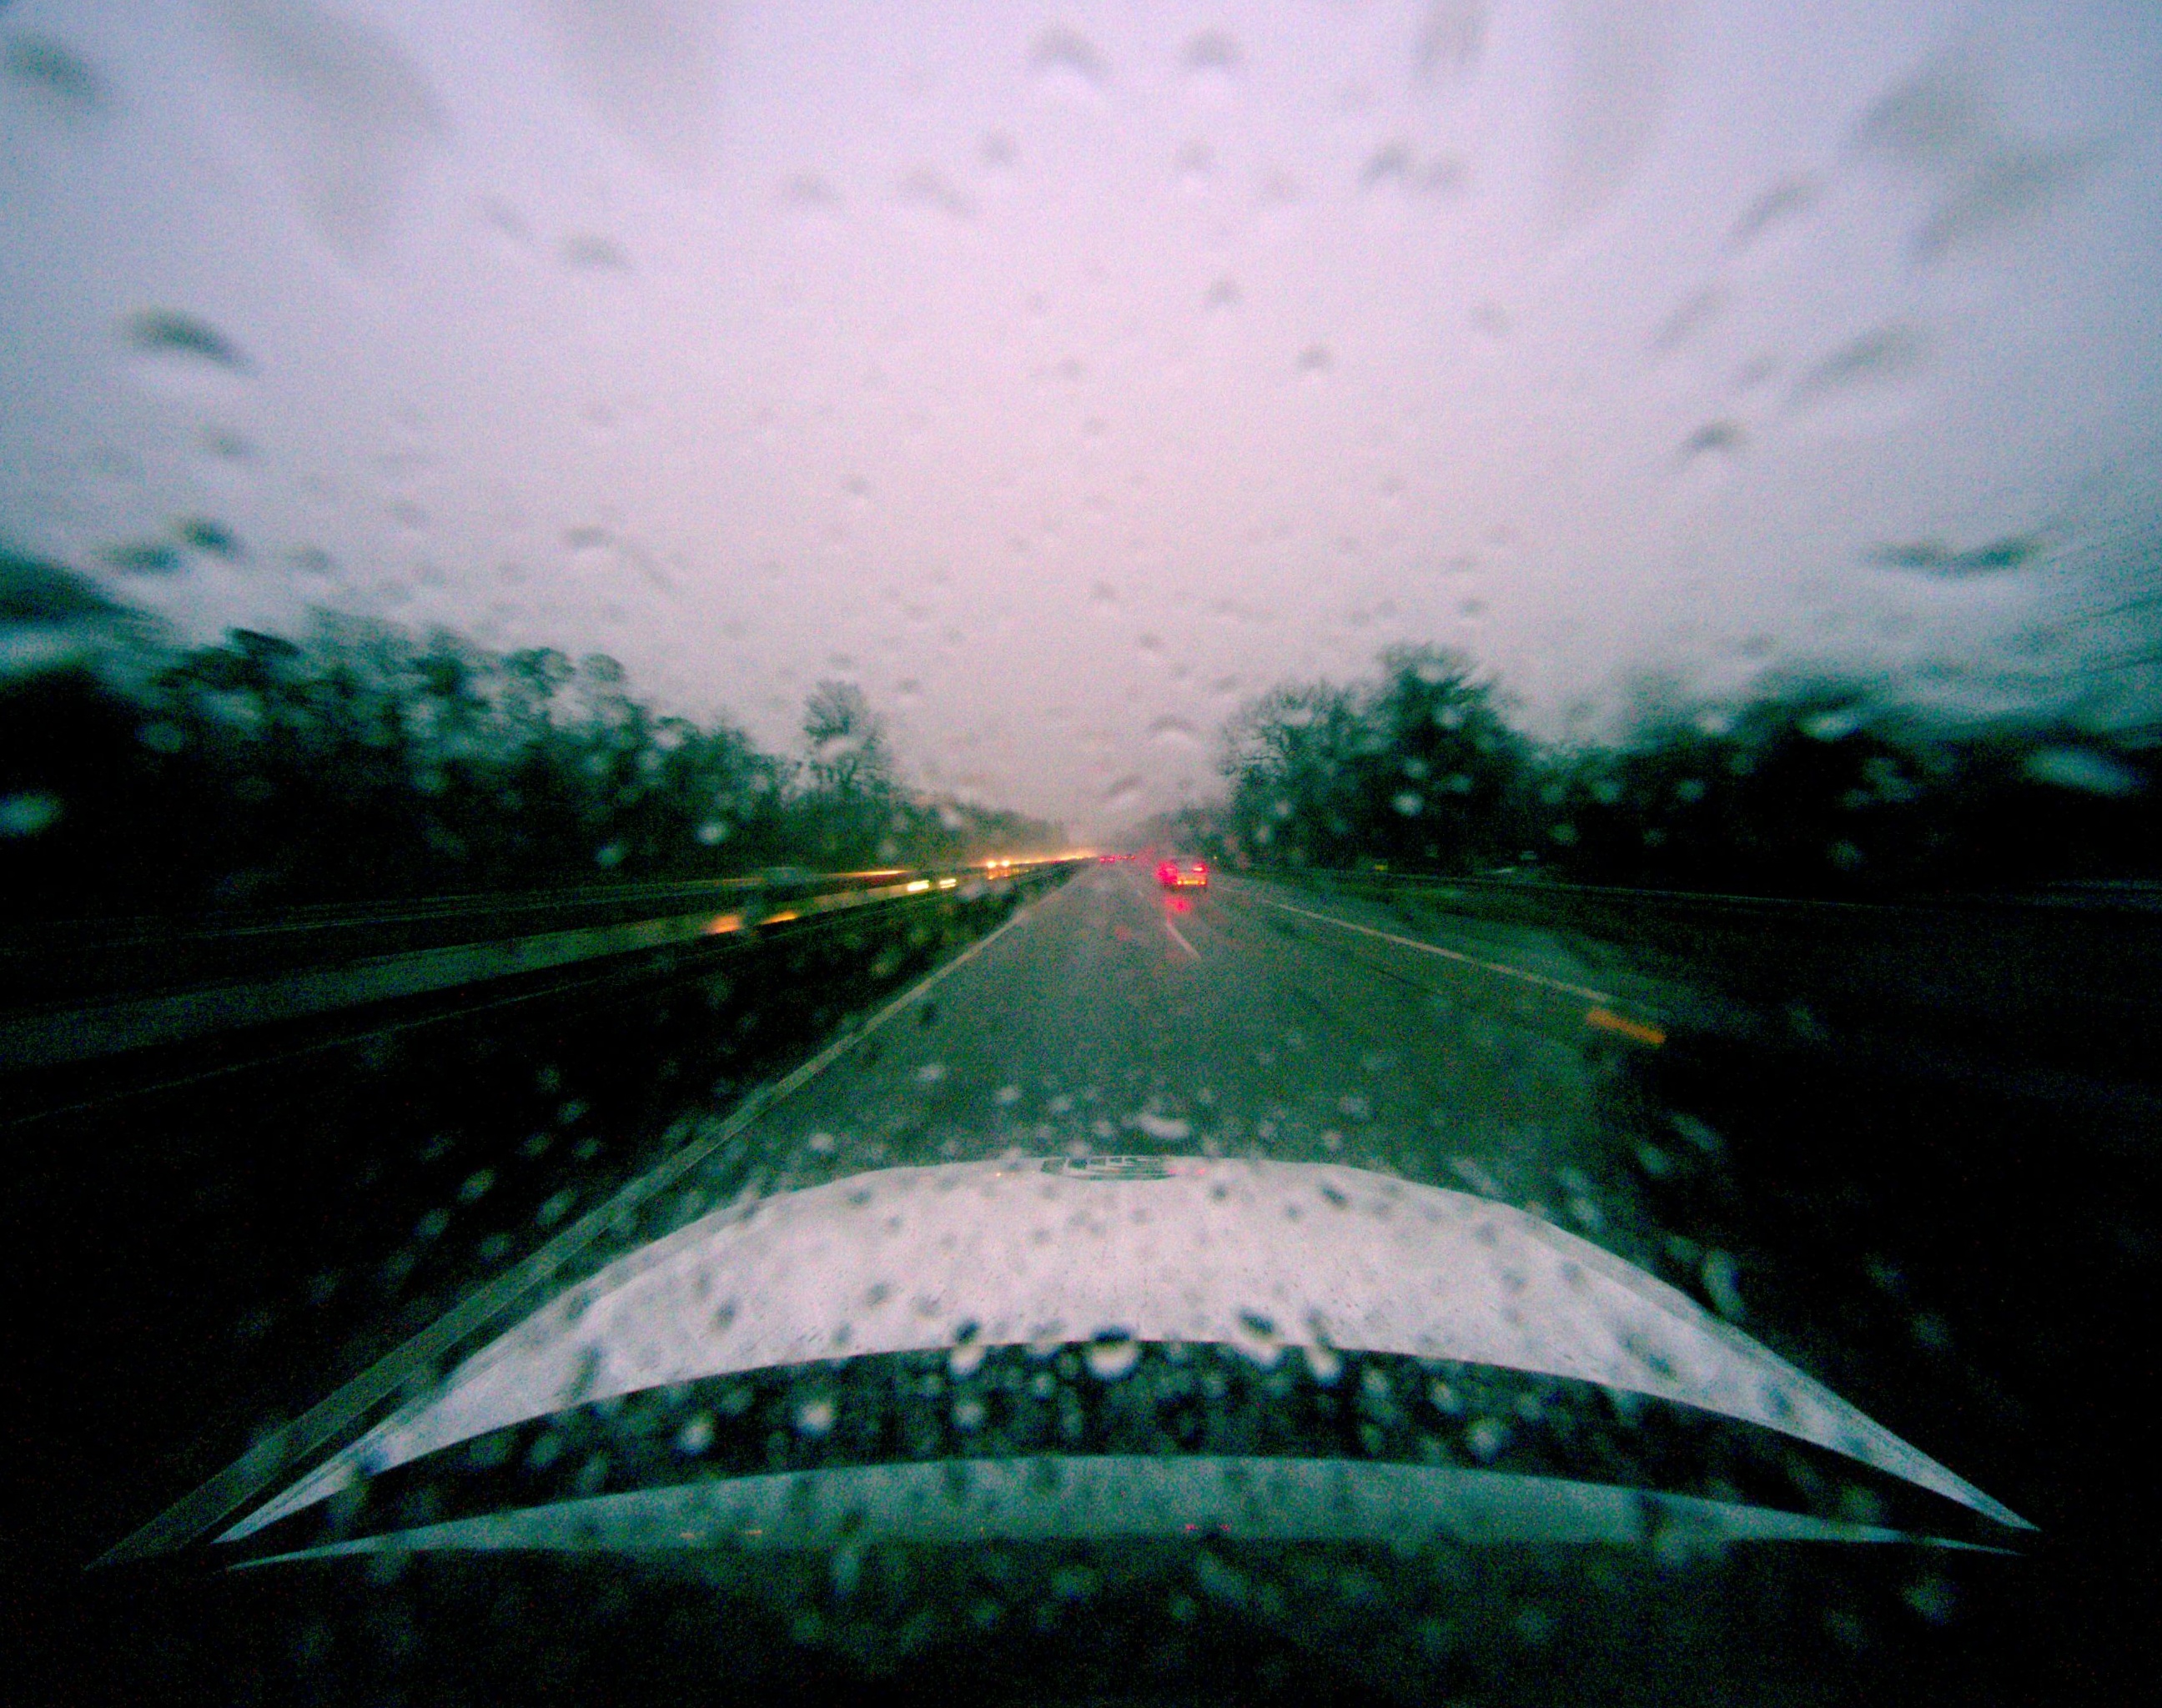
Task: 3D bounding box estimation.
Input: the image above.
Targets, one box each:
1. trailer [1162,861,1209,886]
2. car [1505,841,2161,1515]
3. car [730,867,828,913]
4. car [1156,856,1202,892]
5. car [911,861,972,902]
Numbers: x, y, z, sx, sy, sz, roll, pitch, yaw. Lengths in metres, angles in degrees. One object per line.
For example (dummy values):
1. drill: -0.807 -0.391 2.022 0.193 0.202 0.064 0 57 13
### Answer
1. trailer: 4.482 0.825 35.237 1.741 0.925 2.952 -3 0 2
2. car: 3.227 0.714 2.947 1.588 1.491 3.596 -1 0 2
3. car: -10.720 1.231 29.240 1.749 1.407 4.411 -1 0 1
4. car: 4.605 0.901 38.615 1.780 1.516 3.813 -3 0 2
5. car: -6.199 1.192 36.674 1.692 1.506 4.411 -6 0 1
